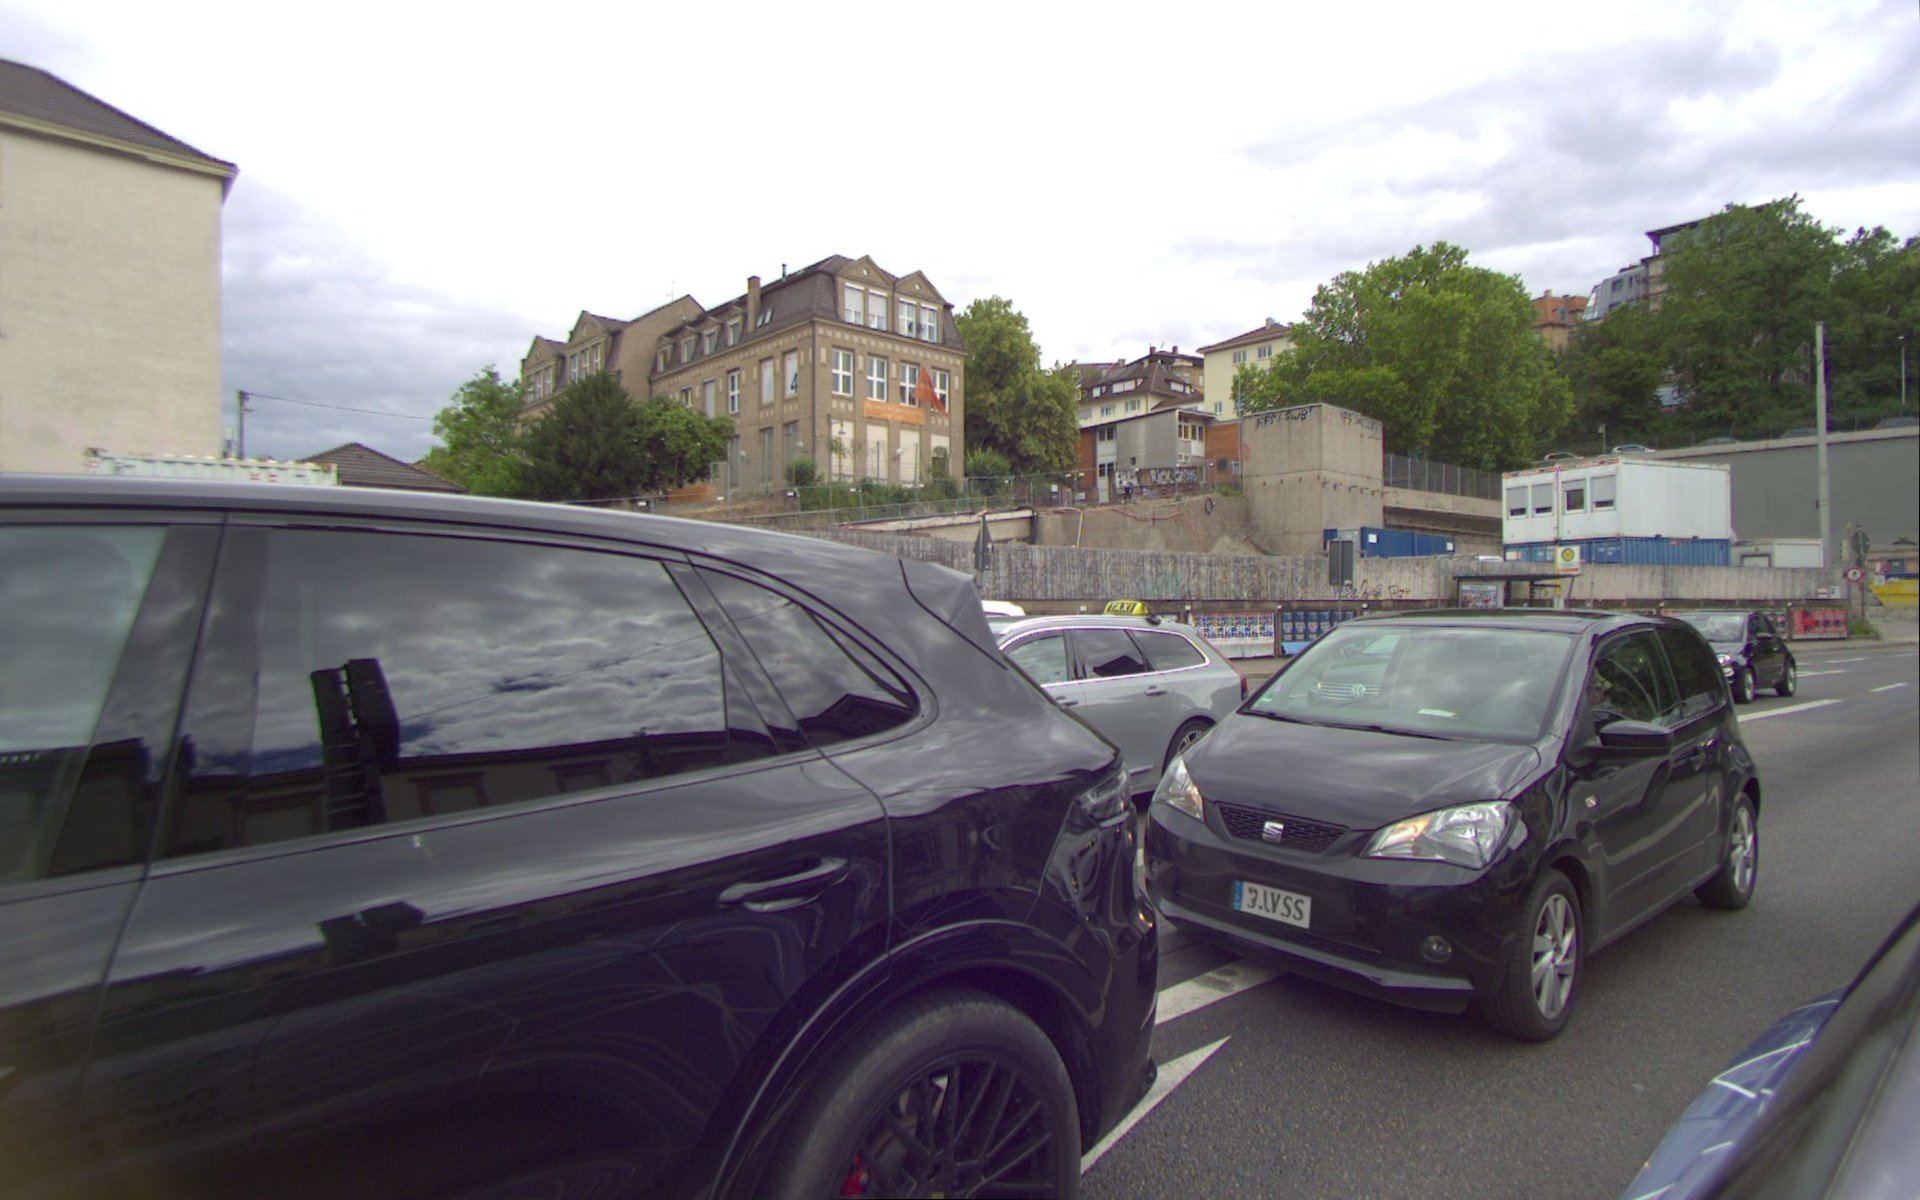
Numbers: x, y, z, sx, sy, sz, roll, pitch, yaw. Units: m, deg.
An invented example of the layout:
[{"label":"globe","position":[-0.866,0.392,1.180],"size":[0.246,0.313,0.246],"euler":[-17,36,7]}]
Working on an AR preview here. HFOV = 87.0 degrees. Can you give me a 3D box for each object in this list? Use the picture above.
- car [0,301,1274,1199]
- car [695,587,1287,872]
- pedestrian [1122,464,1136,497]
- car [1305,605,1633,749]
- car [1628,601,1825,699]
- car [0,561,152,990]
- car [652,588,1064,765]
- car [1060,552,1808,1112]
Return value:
[{"label":"car","position":[-1.653,0.554,1.664],"size":[4.497,1.689,1.998],"euler":[-1,0,-39]},{"label":"car","position":[0.404,0.655,7.337],"size":[4.142,1.484,1.825],"euler":[-1,0,-40]},{"label":"pedestrian","position":[9.563,-6.745,57.221],"size":[0.557,1.817,0.556],"euler":[0,0,-17]},{"label":"car","position":[6.028,0.766,11.802],"size":[4.139,1.381,1.827],"euler":[1,0,-38]},{"label":"car","position":[12.990,0.776,17.099],"size":[3.711,1.478,1.721],"euler":[1,-2,-38]},{"label":"car","position":[-5.057,0.635,3.454],"size":[3.581,1.529,1.826],"euler":[-1,0,-39]},{"label":"car","position":[-0.934,0.631,10.600],"size":[4.004,1.484,1.824],"euler":[-1,0,-42]},{"label":"car","position":[2.416,0.629,4.716],"size":[3.841,1.575,1.661],"euler":[-1,0,-39]}]
